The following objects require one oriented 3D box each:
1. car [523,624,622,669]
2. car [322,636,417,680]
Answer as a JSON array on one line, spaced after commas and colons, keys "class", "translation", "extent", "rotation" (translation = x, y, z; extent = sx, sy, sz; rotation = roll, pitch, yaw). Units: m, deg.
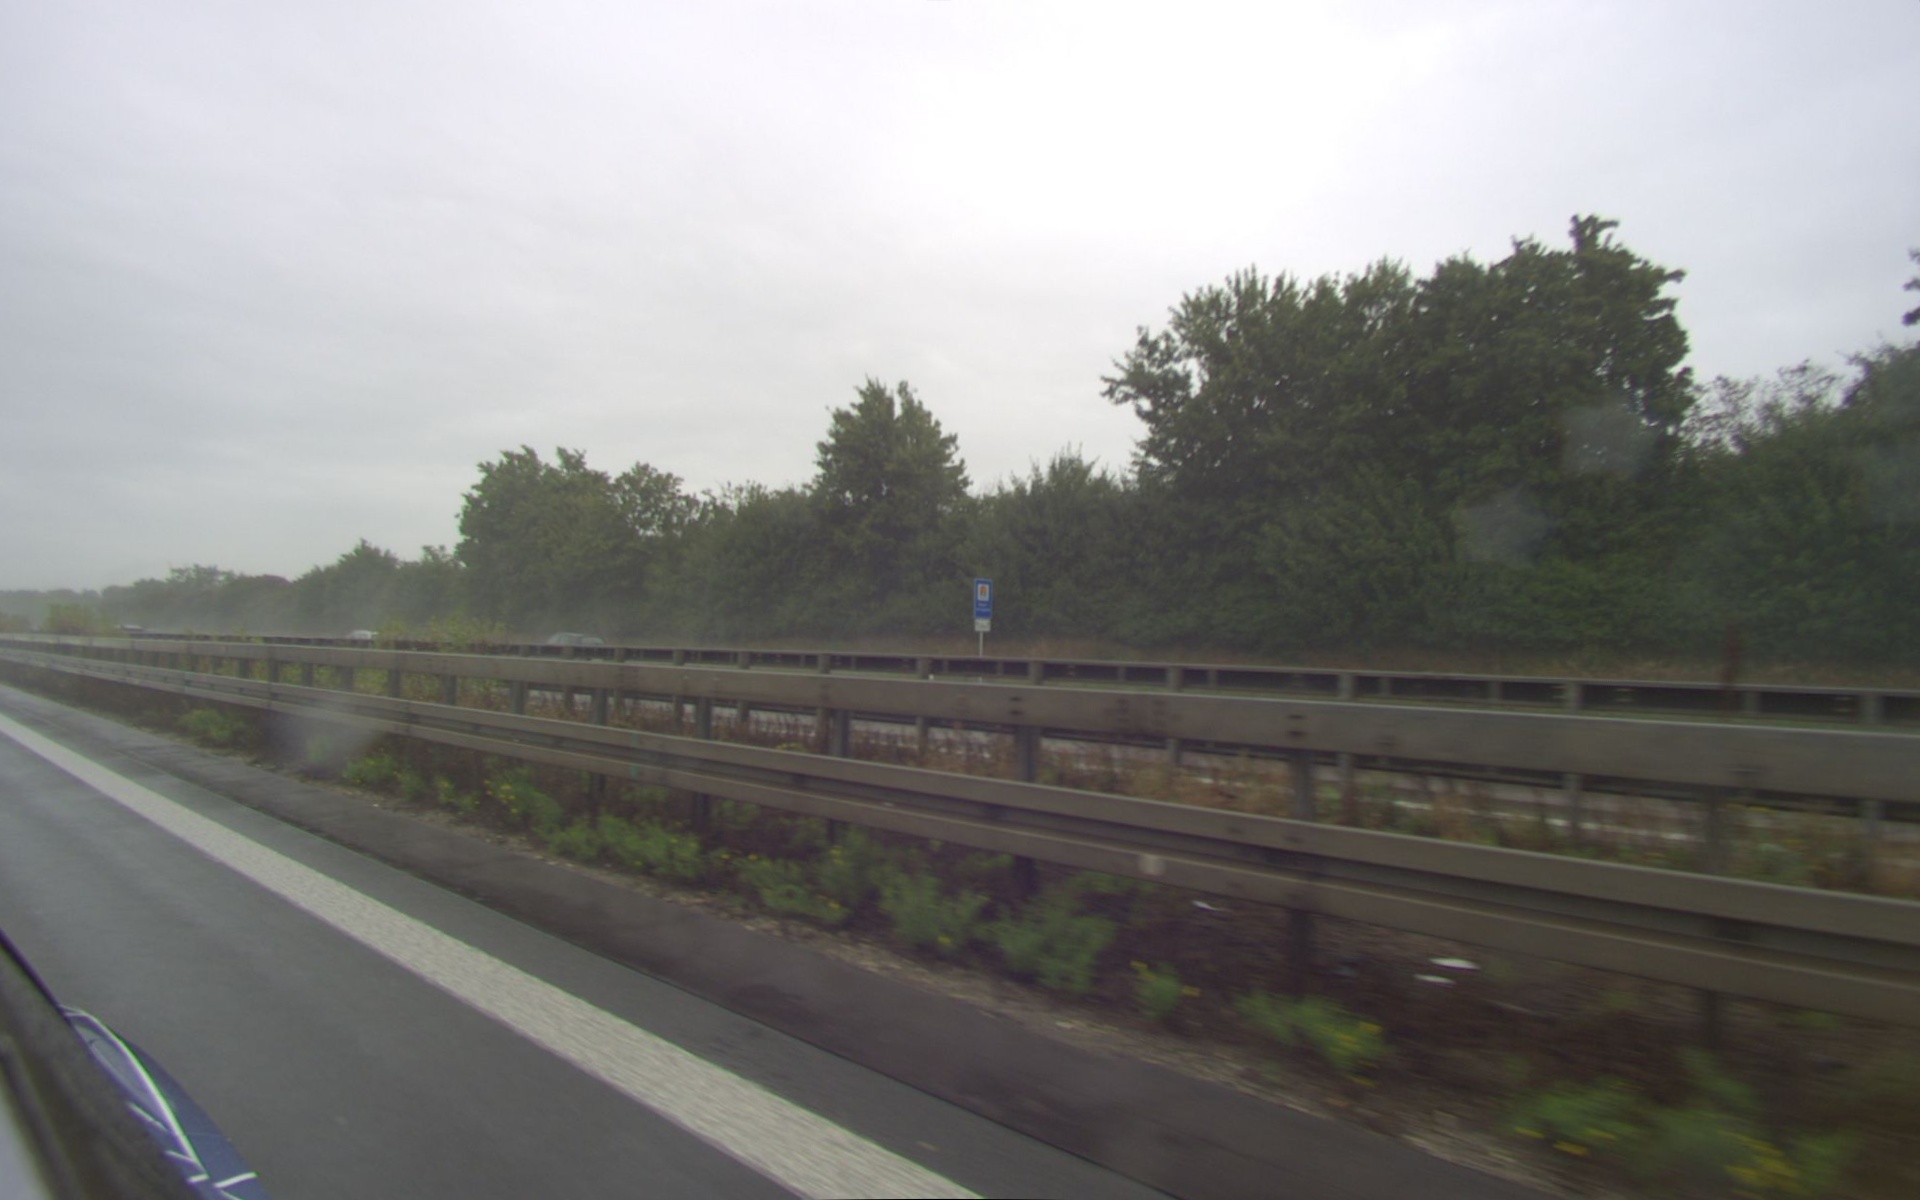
[{"class": "car", "translation": [-14.419, 1.707, 37.581], "extent": [3.997, 1.579, 1.715], "rotation": [-2, -1, 40]}, {"class": "car", "translation": [-23.004, 2.228, 39.366], "extent": [4.757, 1.579, 1.715], "rotation": [-2, -1, 40]}]
